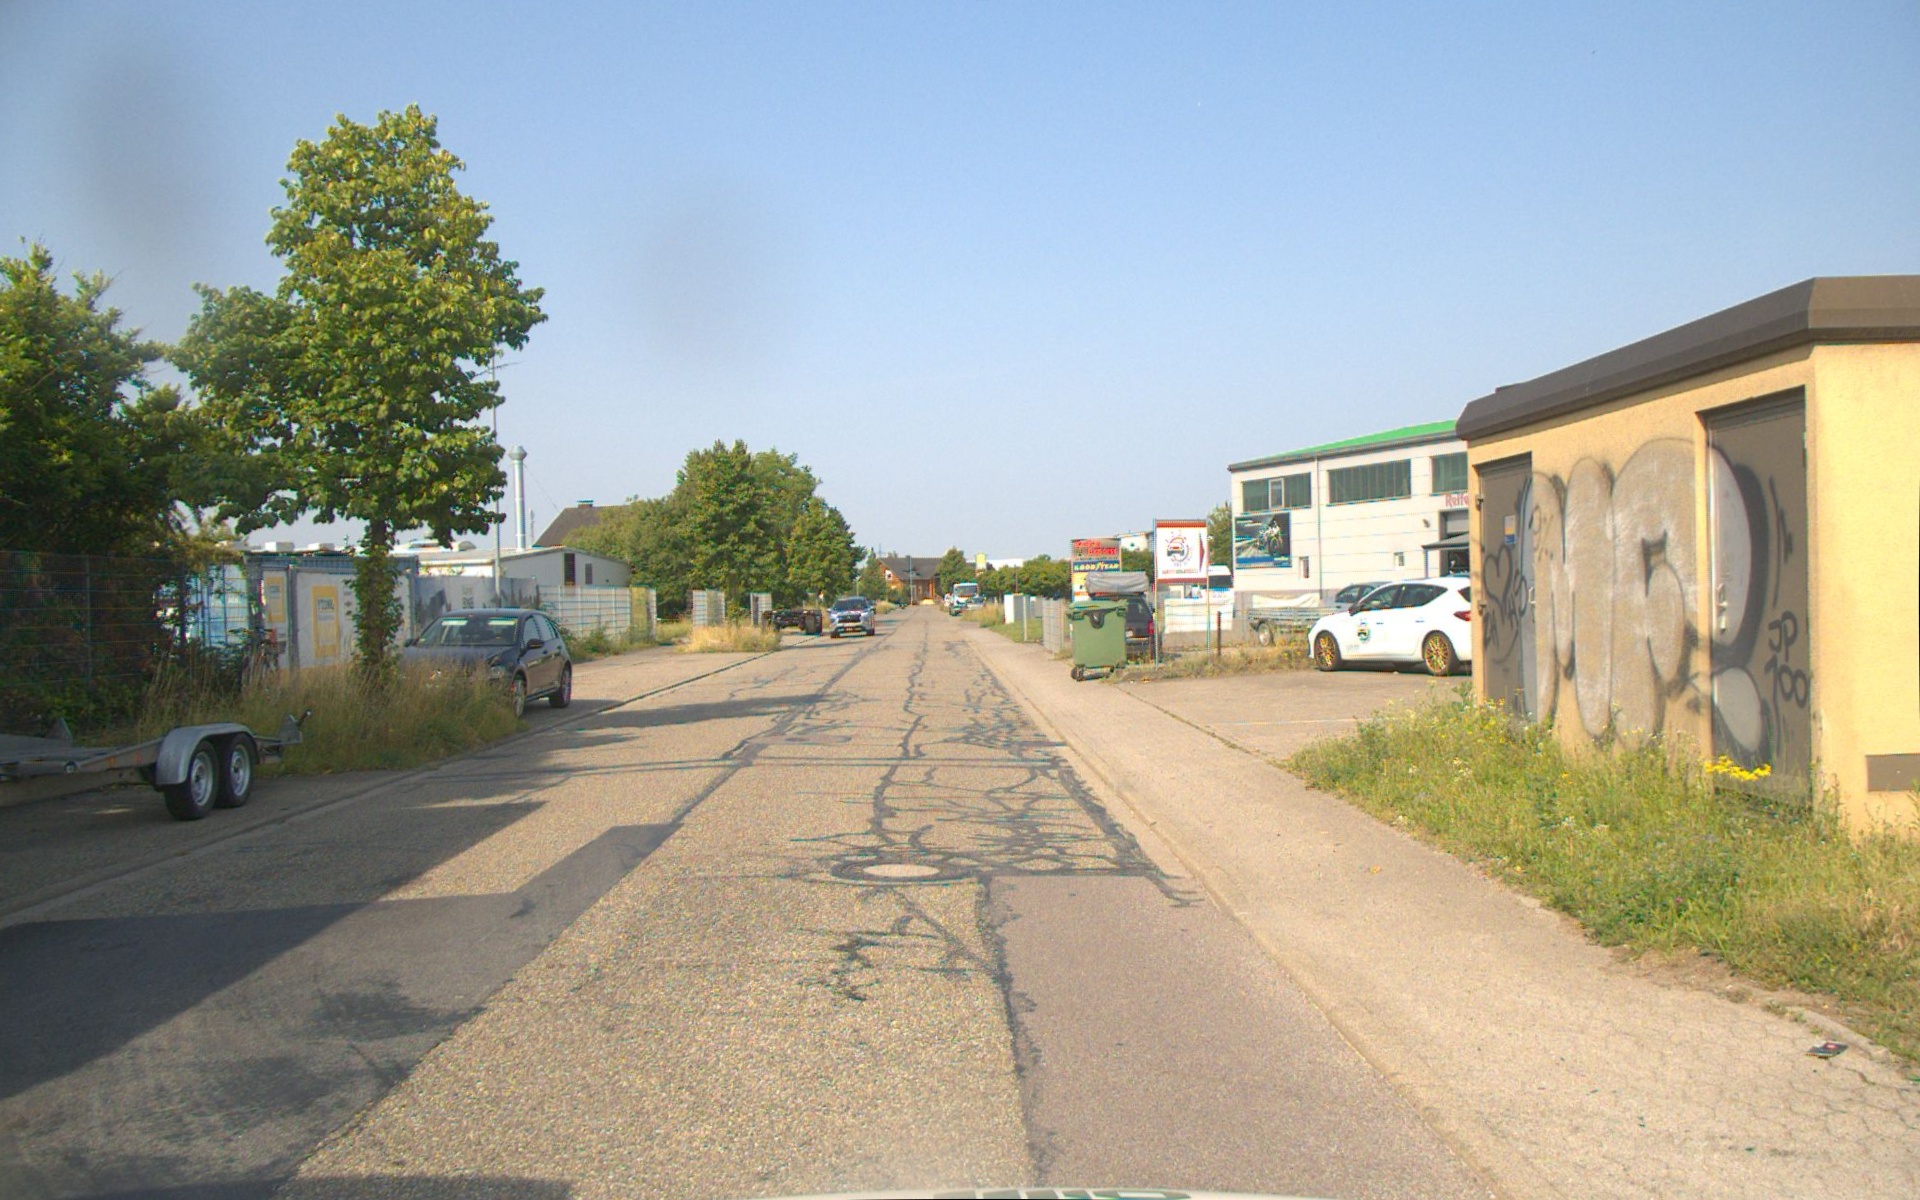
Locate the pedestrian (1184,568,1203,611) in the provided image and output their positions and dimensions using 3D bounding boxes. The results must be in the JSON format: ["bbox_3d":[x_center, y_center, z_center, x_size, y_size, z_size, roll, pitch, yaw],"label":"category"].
[{"bbox_3d":[9.328,-0.428,66.094,0.687,1.668,0.749,-2,0,7],"label":"pedestrian"}]

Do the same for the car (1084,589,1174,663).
[{"bbox_3d":[3.485,0.495,34.671,1.638,1.392,4.395,-2,0,4],"label":"car"}]

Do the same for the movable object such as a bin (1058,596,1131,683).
[{"bbox_3d":[2.331,0.672,28.844,1.059,1.376,1.505,-5,0,0],"label":"movable object such as a bin"}]

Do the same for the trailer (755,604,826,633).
[{"bbox_3d":[-7.765,0.826,76.761,2.530,1.205,9.360,-1,0,-1],"label":"trailer"}]

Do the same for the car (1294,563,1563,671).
[{"bbox_3d":[7.179,0.258,25.793,1.666,1.491,4.228,-2,0,-25],"label":"car"}]

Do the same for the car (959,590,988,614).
[{"bbox_3d":[0.910,0.155,112.889,1.758,1.544,4.423,-2,0,-2],"label":"car"}]

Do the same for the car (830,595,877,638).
[{"bbox_3d":[-4.466,0.687,70.032,1.775,1.655,4.248,-3,0,-2],"label":"car"}]

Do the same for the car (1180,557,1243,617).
[{"bbox_3d":[12.200,-0.642,80.668,1.934,2.752,5.879,-2,0,-2],"label":"car"}]

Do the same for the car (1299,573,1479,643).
[{"bbox_3d":[9.963,0.187,38.734,1.619,1.491,4.425,-2,0,-25],"label":"car"}]

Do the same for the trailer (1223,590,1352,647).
[{"bbox_3d":[7.638,0.416,38.784,1.472,1.270,2.951,-1,0,-27],"label":"trailer"}]

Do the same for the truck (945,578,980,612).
[{"bbox_3d":[0.159,-0.419,136.744,2.313,2.728,6.505,-2,0,-5],"label":"truck"}]

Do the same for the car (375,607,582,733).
[{"bbox_3d":[-6.645,0.908,23.259,1.653,1.495,4.093,-2,0,0],"label":"car"}]

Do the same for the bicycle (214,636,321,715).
[{"bbox_3d":[-10.029,1.067,24.035,0.551,0.990,2.452,-3,0,-2],"label":"bicycle"}]

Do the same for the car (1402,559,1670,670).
[{"bbox_3d":[9.202,0.224,26.760,1.694,1.599,4.100,-2,0,-25],"label":"car"}]

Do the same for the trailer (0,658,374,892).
[{"bbox_3d":[-6.592,1.121,11.994,2.596,1.002,6.241,-3,0,-2],"label":"trailer"}]
